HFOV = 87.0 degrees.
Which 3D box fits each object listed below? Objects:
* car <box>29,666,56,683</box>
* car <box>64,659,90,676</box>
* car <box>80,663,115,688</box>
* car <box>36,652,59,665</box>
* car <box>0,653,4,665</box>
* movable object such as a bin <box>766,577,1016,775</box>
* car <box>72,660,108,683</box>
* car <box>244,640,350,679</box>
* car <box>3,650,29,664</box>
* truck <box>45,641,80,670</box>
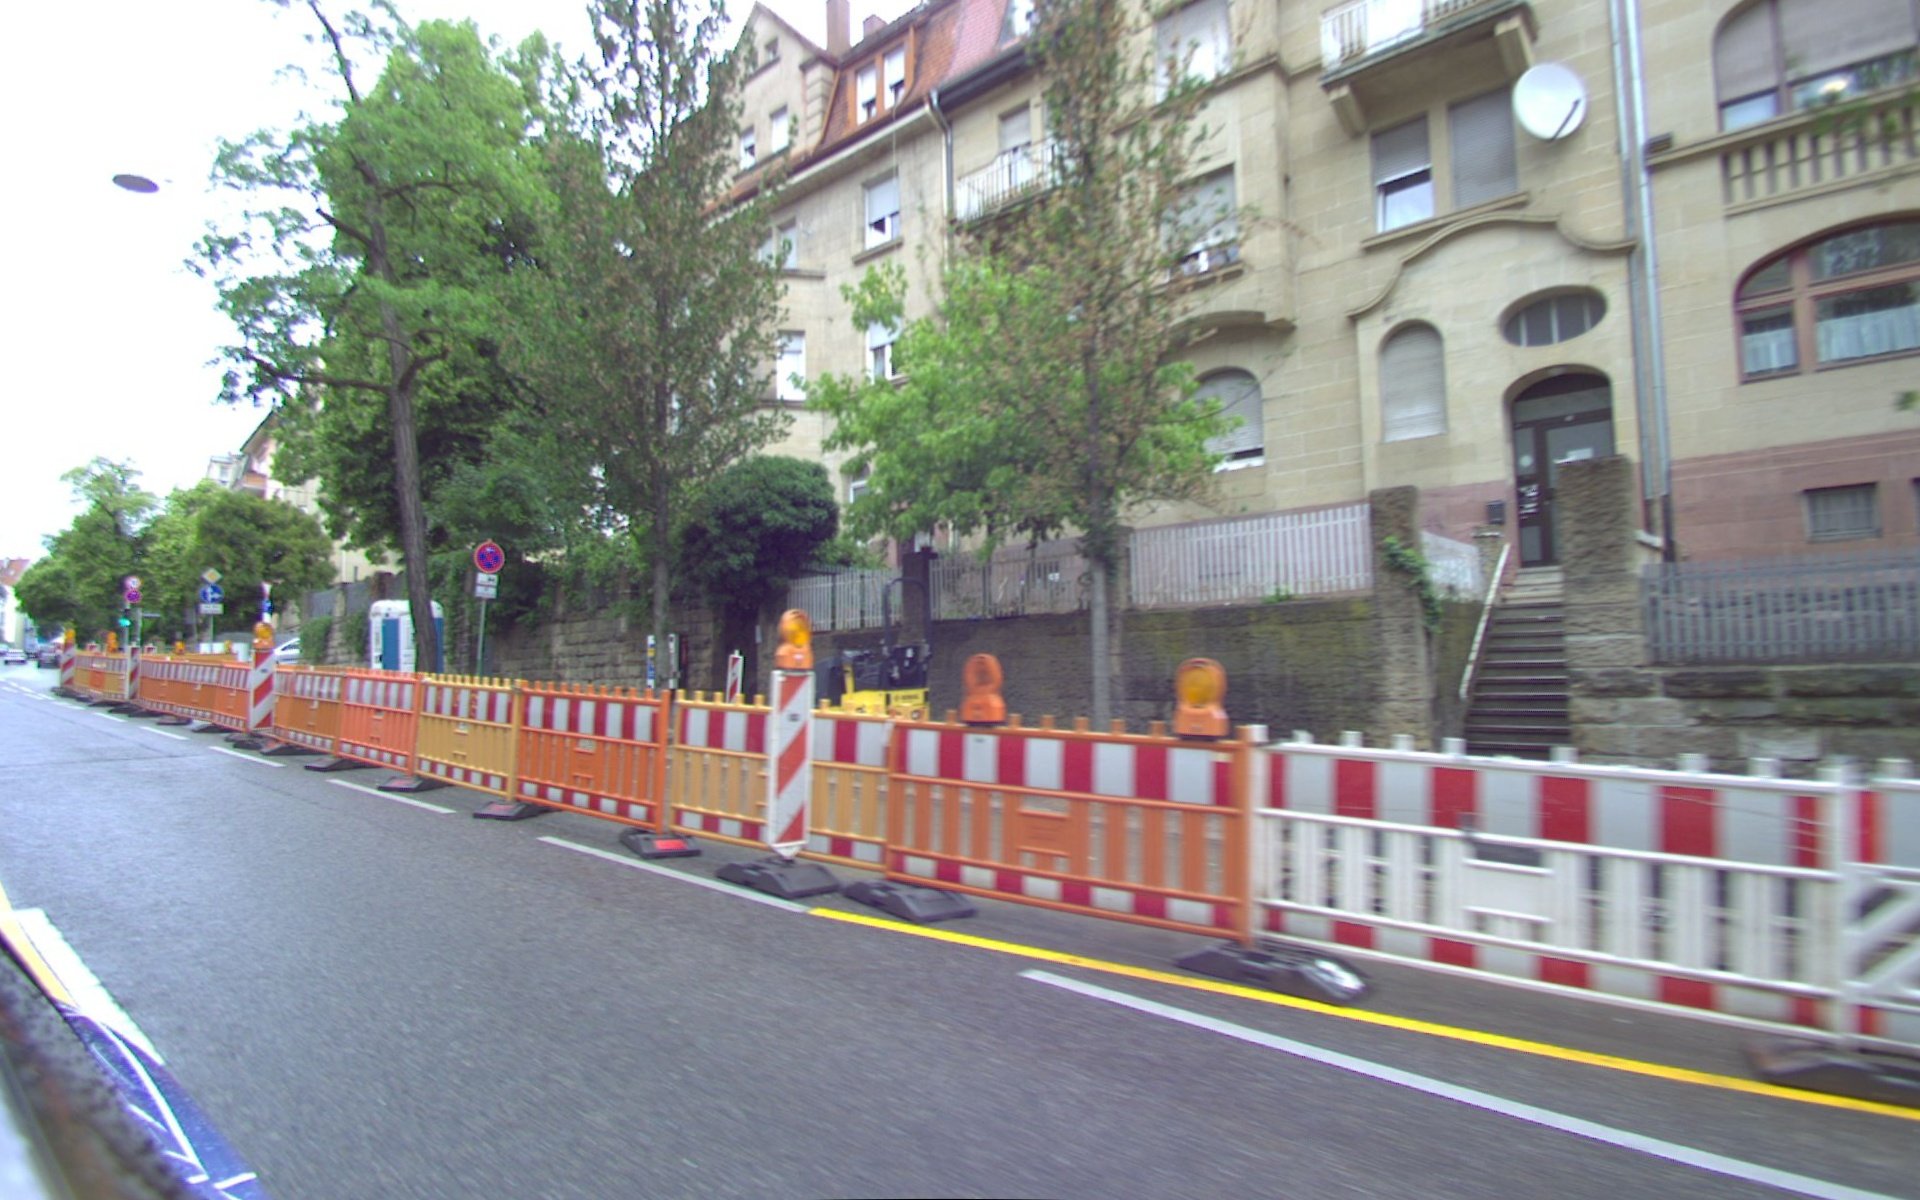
[{"bbox_3d":[-97.218,7.948,107.172,1.794,1.529,4.550,6,-10,-44],"label":"car"},{"bbox_3d":[-88.787,6.792,101.785,1.721,1.571,4.305,1,-2,-44],"label":"car"},{"bbox_3d":[-59.888,5.225,70.227,1.720,1.571,4.307,0,-2,-42],"label":"car"},{"bbox_3d":[-117.714,7.534,130.521,1.689,1.491,4.123,5,-6,-36],"label":"car"},{"bbox_3d":[-127.332,7.759,133.098,1.896,1.573,4.020,7,-7,-38],"label":"car"},{"bbox_3d":[-0.954,0.993,13.573,2.816,2.317,1.971,-3,-5,45],"label":"movable object such as a bin"},{"bbox_3d":[-65.603,5.399,76.295,4.304,1.571,1.722,-3,-1,45],"label":"car"},{"bbox_3d":[-29.471,2.611,45.023,3.812,1.419,1.830,-2,1,-38],"label":"car"},{"bbox_3d":[-103.907,6.256,111.382,1.749,1.529,4.106,3,-4,-39],"label":"car"},{"bbox_3d":[-125.258,7.802,141.353,2.613,3.884,9.326,5,-6,-37],"label":"truck"}]
